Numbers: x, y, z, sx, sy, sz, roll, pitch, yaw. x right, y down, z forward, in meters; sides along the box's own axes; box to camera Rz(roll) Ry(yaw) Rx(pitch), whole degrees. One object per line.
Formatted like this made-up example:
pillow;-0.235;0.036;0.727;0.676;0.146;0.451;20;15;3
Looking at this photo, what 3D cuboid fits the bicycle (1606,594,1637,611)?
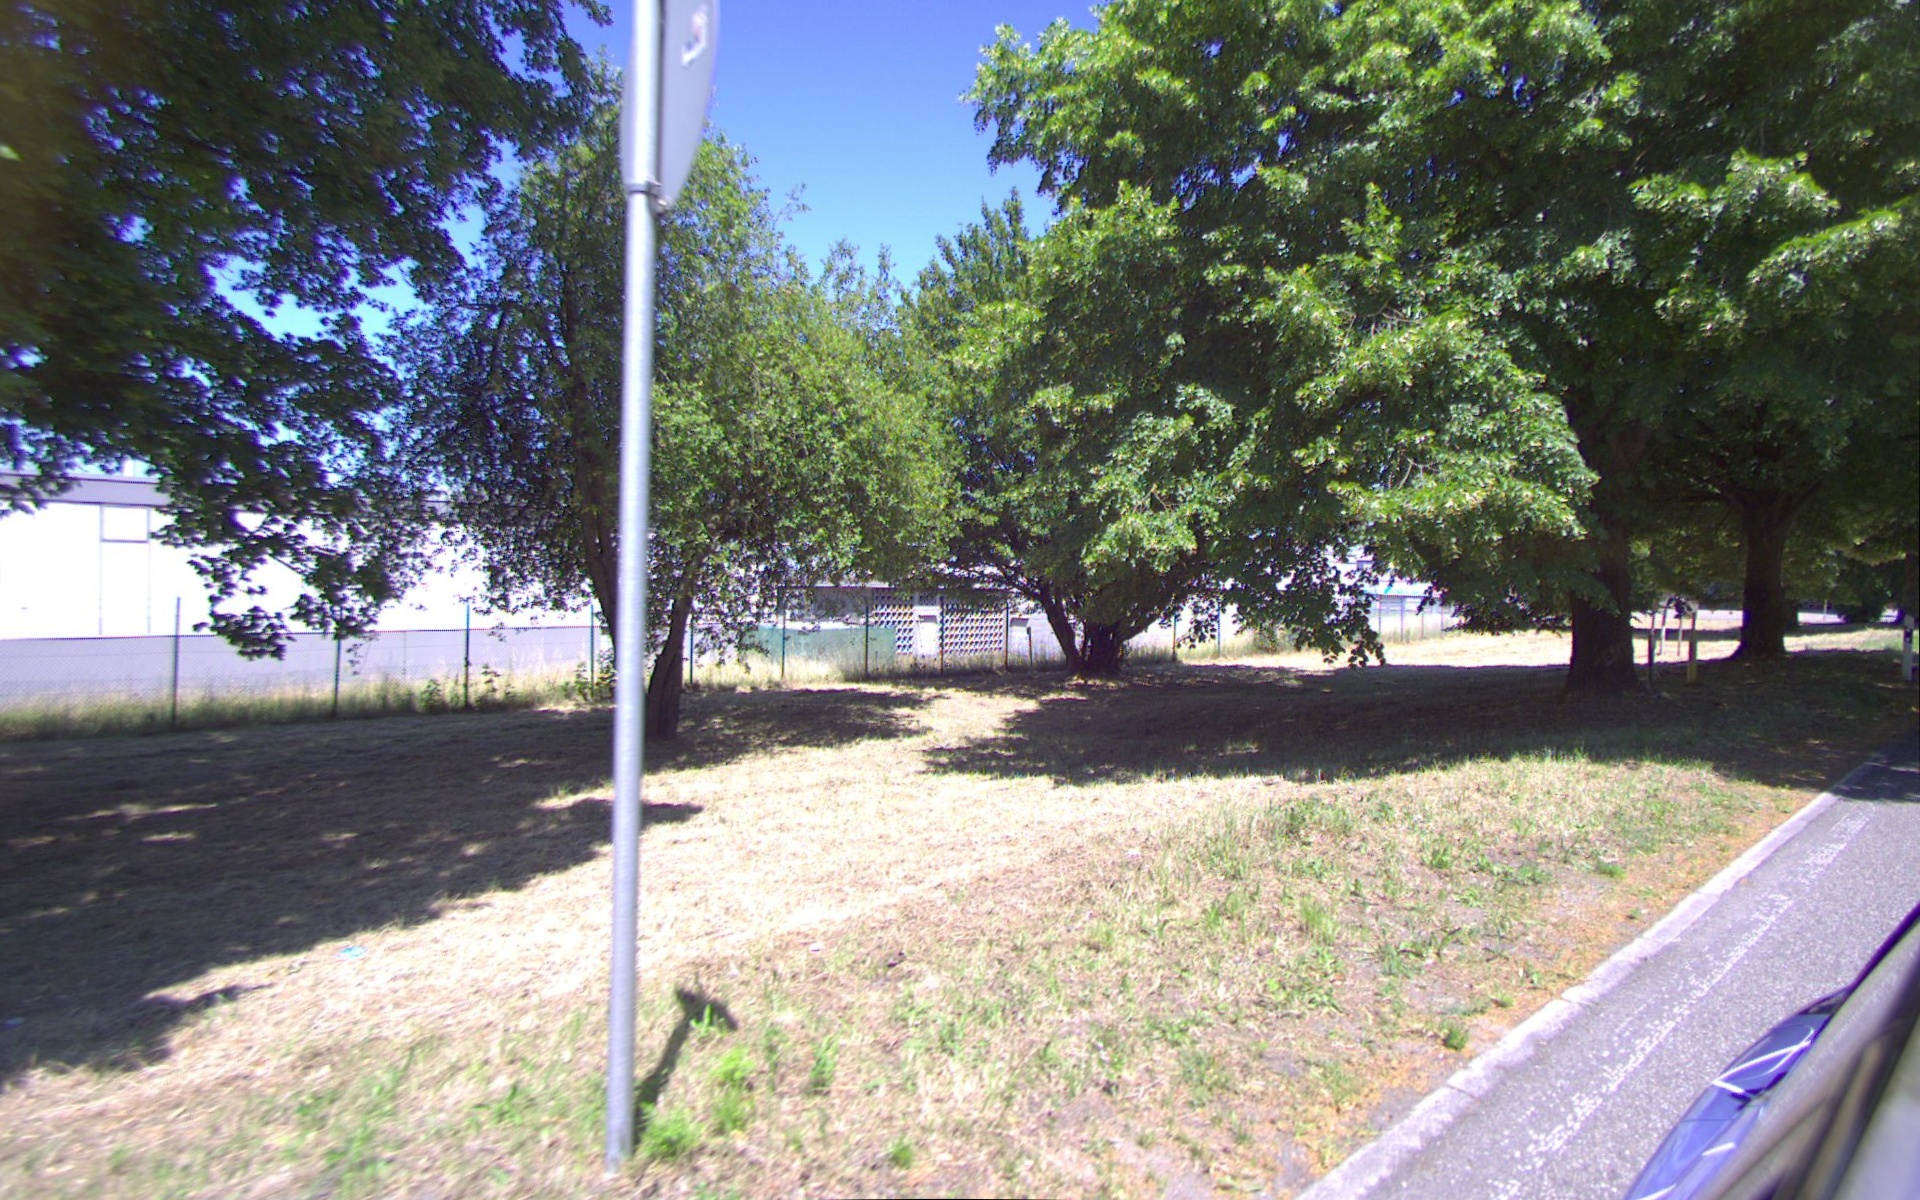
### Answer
bicycle;44.724;0.166;68.442;0.460;1.111;1.696;0;1;-41
